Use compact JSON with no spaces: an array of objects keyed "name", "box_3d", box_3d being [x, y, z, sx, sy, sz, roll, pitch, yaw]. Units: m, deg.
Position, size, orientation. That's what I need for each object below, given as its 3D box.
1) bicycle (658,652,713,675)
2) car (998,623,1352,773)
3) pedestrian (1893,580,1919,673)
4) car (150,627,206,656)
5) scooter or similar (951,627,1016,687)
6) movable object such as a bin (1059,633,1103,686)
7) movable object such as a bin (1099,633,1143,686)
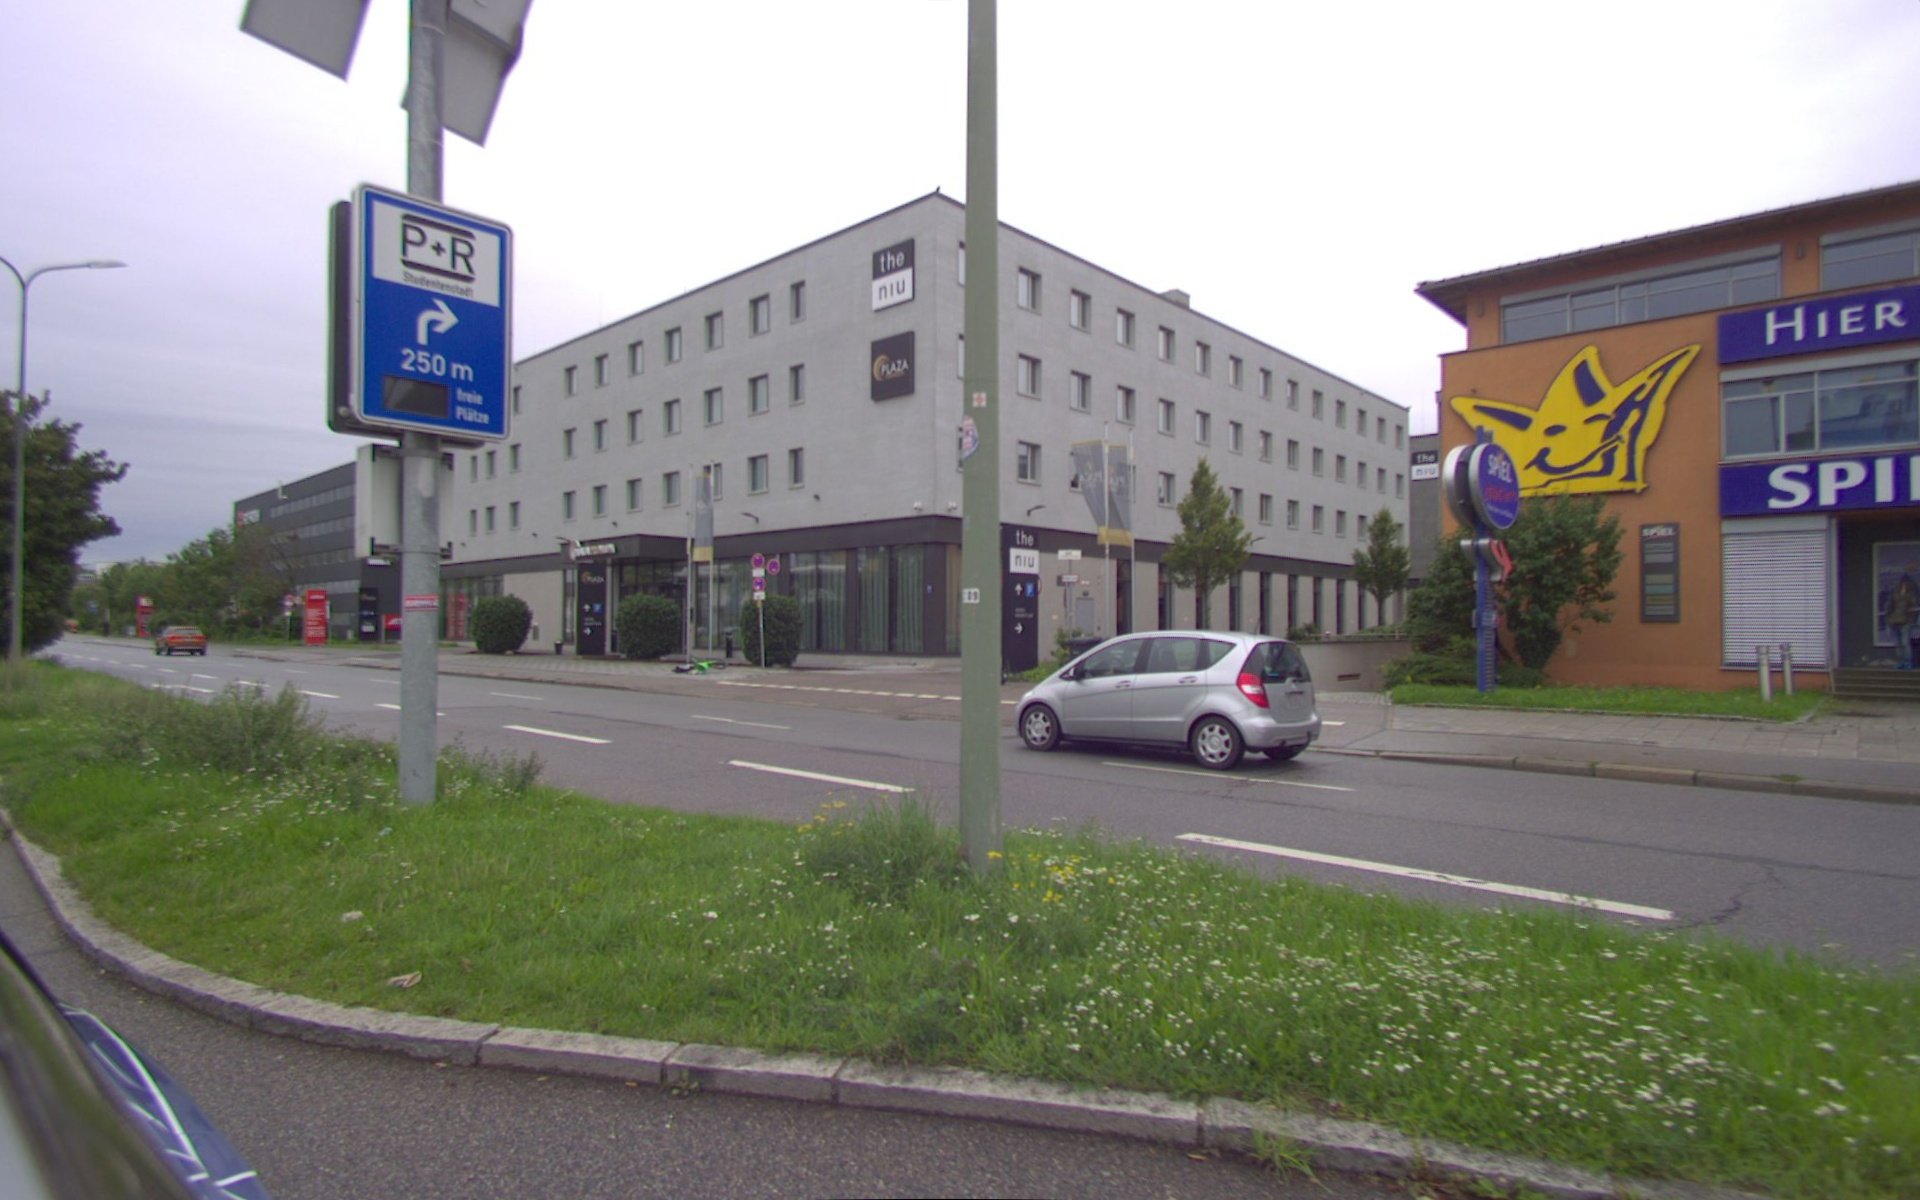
[{"name":"bicycle","box_3d":[-7.951,1.833,29.279,1.732,0.553,0.712,-1,1,43]},{"name":"car","box_3d":[2.567,1.087,12.686,4.028,1.569,1.794,-1,-3,44]},{"name":"pedestrian","box_3d":[18.076,0.491,19.084,0.662,1.725,0.651,-1,-1,41]},{"name":"car","box_3d":[-43.424,2.289,56.150,4.304,1.560,1.717,-1,-3,43]},{"name":"scooter or similar","box_3d":[0.535,1.279,23.104,1.404,1.287,0.579,-1,3,43]},{"name":"movable object such as a bin","box_3d":[2.636,1.284,22.019,0.655,1.086,0.729,-1,-1,43]},{"name":"movable object such as a bin","box_3d":[3.492,1.273,21.936,0.655,1.086,0.729,-1,-1,43]}]
